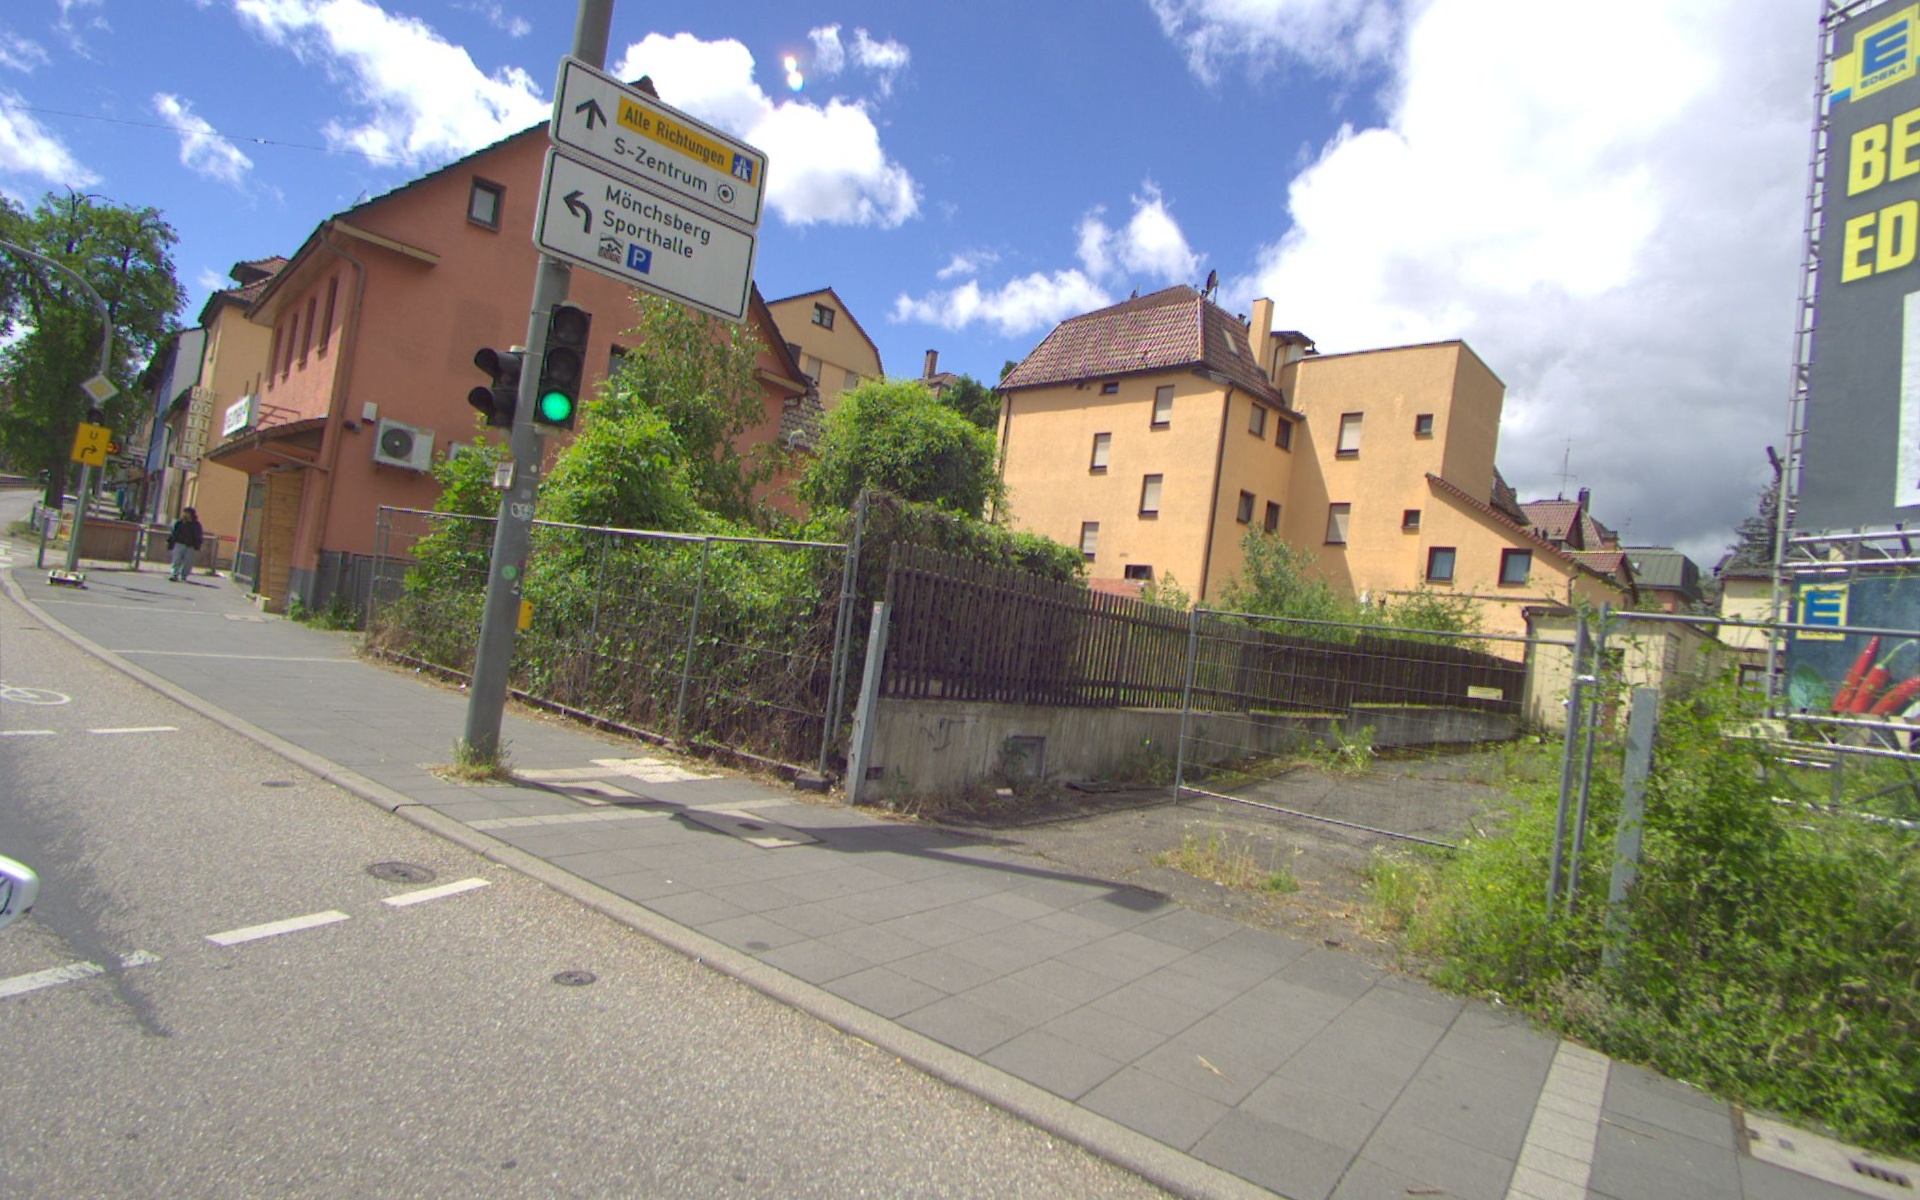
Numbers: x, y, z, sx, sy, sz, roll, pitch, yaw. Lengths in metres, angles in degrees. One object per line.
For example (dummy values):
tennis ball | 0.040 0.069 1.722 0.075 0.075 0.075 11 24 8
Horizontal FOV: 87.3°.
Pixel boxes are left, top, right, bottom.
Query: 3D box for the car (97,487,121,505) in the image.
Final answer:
car | -107.752 -13.199 127.384 2.116 1.880 3.696 9 -1 -40

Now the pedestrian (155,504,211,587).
pedestrian | -17.091 -1.200 22.121 0.762 1.663 0.768 7 1 -43

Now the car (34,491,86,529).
car | -46.440 -4.597 51.963 1.781 1.615 3.955 8 -2 -41
